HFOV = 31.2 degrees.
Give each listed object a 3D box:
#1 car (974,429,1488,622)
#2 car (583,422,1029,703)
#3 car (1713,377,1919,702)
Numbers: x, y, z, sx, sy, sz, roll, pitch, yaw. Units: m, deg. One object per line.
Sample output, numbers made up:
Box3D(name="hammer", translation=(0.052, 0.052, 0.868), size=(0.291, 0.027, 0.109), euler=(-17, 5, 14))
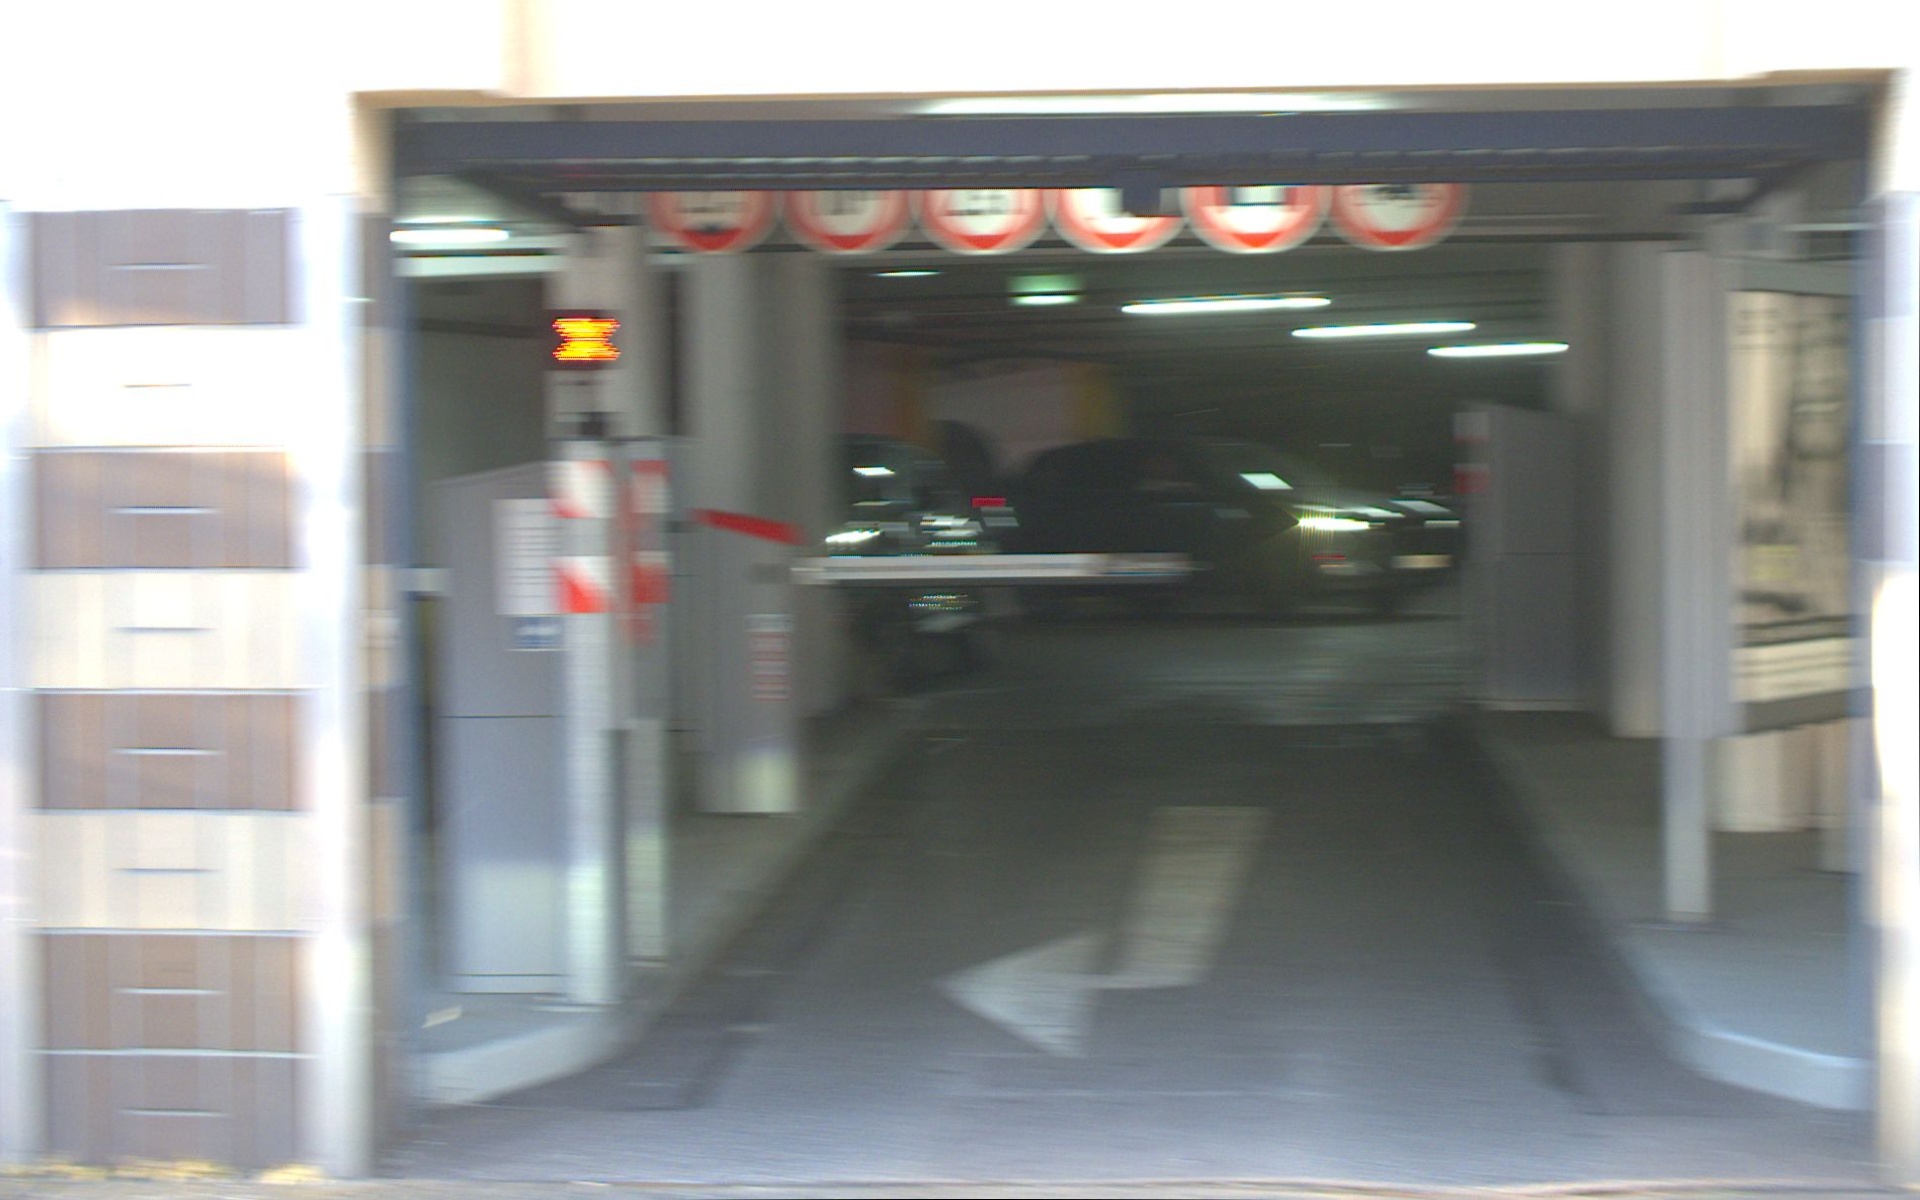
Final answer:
Box3D(name="car", translation=(2.385, -0.703, 30.851), size=(4.296, 1.618, 1.887), euler=(2, 3, 39))
Box3D(name="car", translation=(-0.840, -0.311, 21.575), size=(1.814, 1.567, 4.250), euler=(-1, 3, 11))
Box3D(name="car", translation=(5.155, -0.406, 18.980), size=(1.556, 1.612, 3.880), euler=(0, 3, 7))
